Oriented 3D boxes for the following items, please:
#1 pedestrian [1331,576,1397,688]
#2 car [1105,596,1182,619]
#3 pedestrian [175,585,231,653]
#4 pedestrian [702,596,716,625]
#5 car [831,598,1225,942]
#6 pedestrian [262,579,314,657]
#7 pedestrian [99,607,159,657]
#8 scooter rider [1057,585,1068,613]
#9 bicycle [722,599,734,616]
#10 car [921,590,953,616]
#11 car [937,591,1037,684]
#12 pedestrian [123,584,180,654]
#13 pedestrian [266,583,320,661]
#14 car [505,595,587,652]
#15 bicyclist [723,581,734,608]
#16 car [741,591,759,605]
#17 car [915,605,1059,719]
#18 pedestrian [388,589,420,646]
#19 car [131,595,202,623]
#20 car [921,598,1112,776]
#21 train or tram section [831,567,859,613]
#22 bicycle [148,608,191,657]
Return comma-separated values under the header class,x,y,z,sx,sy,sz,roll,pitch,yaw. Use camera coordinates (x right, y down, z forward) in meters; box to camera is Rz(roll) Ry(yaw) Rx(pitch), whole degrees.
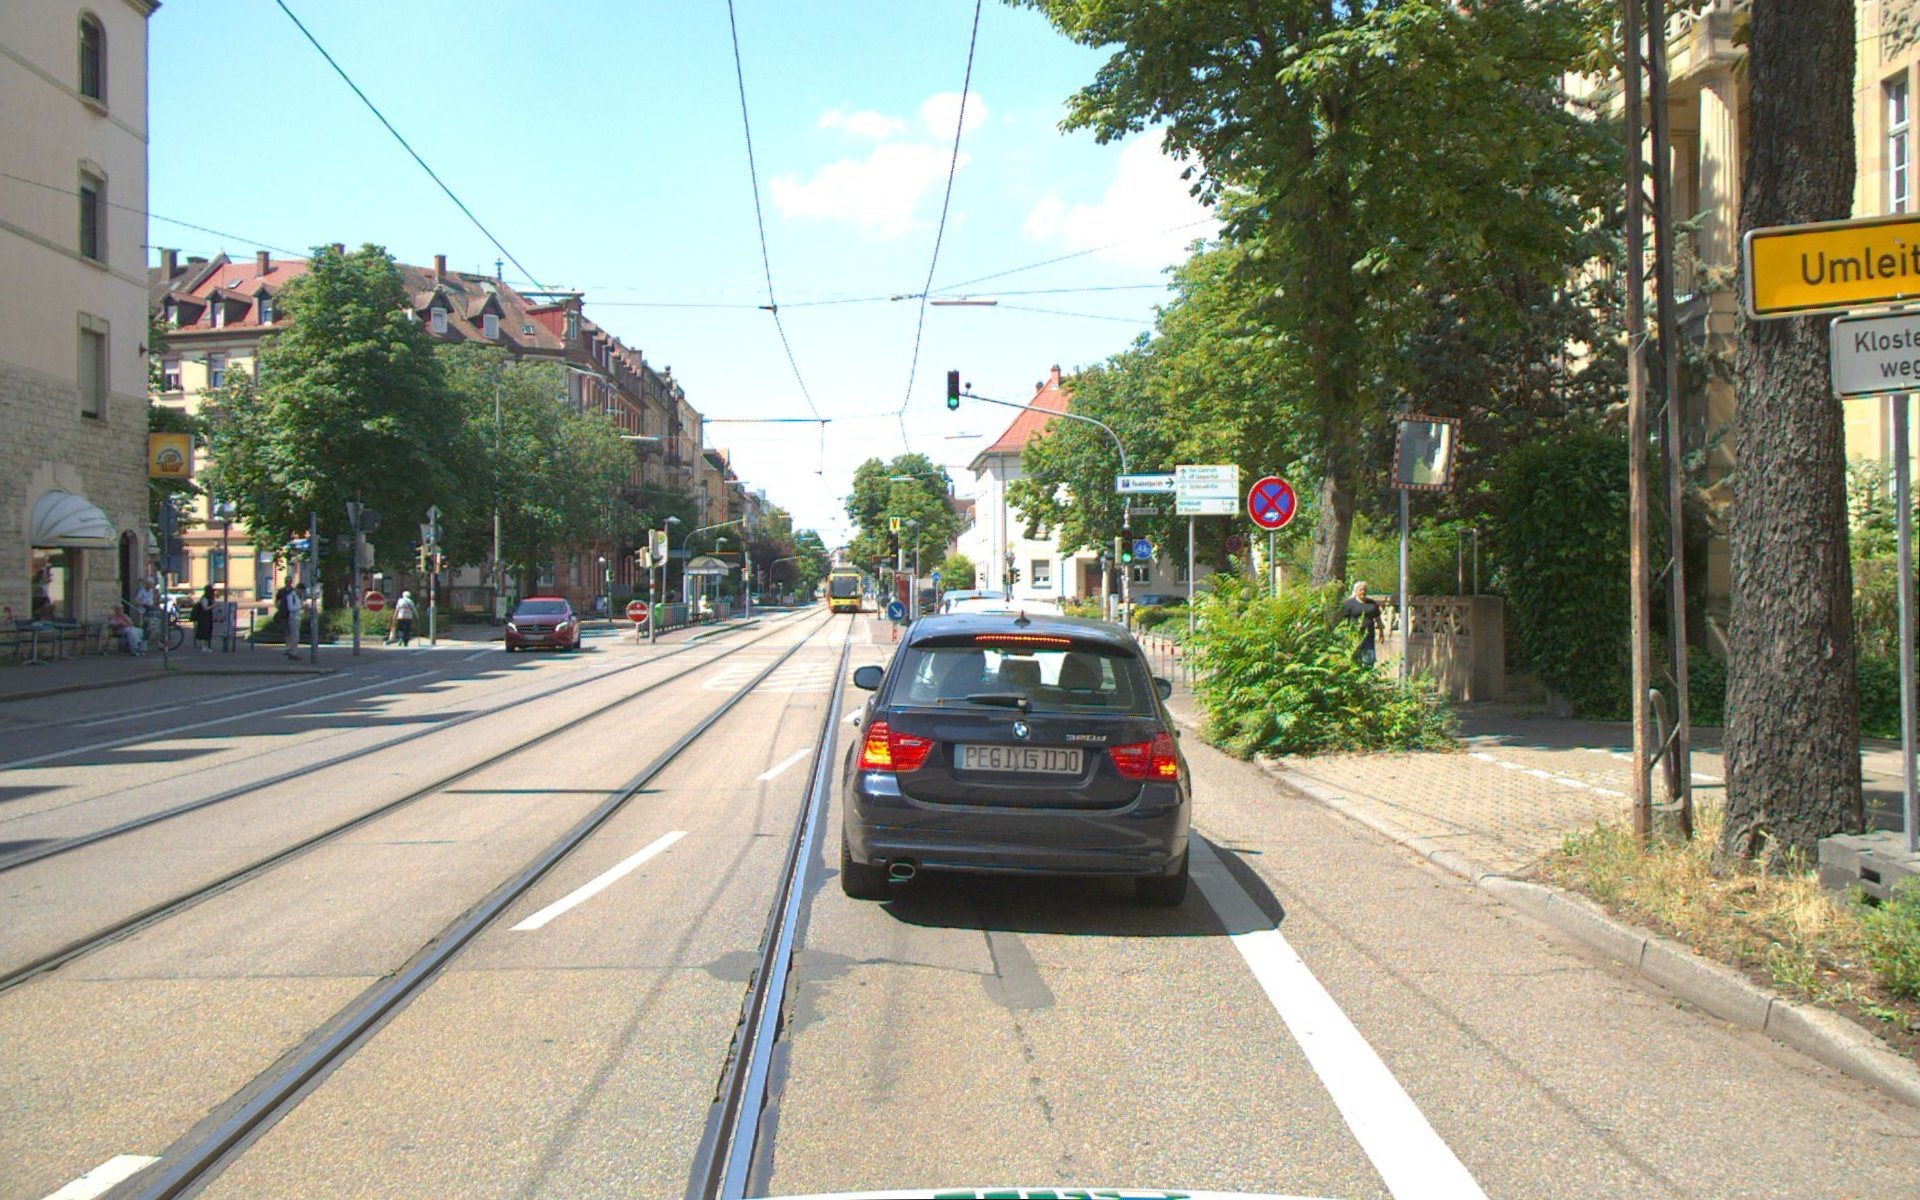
class,x,y,z,sx,sy,sz,roll,pitch,yaw
pedestrian,6.131,0.479,25.125,0.839,1.674,0.837,-1,0,5
car,10.010,0.401,90.238,3.914,1.265,1.619,0,0,32
pedestrian,-18.900,0.466,41.292,1.004,1.664,0.861,0,0,31
pedestrian,-11.070,0.474,72.903,0.602,1.264,0.626,0,0,-9
car,0.364,0.743,9.553,1.687,1.433,4.566,2,0,2
pedestrian,-16.836,0.435,41.477,0.883,1.924,1.163,0,0,-4
pedestrian,-18.584,0.718,37.013,0.897,1.096,0.882,0,0,-3
scooter rider,6.367,-0.054,102.325,0.579,1.716,0.527,0,0,-9
bicycle,-16.051,0.524,114.603,0.714,1.121,1.714,0,0,-5
car,-1.745,0.218,123.632,1.956,1.881,3.994,0,0,-7
car,0.447,0.629,29.692,1.656,1.540,3.821,1,0,0
pedestrian,-18.986,0.432,38.845,0.897,1.622,0.809,0,0,19
pedestrian,-15.427,0.506,38.269,0.841,1.763,0.776,1,0,11
car,-11.393,0.600,45.748,1.789,1.438,4.419,-2,0,-9
bicyclist,-16.041,-0.379,114.654,0.708,1.903,0.824,0,0,-6
car,-24.960,-0.200,196.771,1.756,1.614,3.988,1,0,-12
car,0.276,0.747,21.740,1.657,1.346,3.819,0,0,-3
pedestrian,-17.161,0.539,51.064,0.901,1.753,0.836,0,0,-17
car,-43.795,0.503,91.275,3.388,1.497,1.685,0,0,21
car,0.446,0.754,16.206,1.651,1.510,3.683,0,0,-1
train or tram section,-9.106,-0.781,131.632,2.147,3.543,8.838,0,0,-4
bicycle,-19.382,0.802,40.548,0.539,1.148,1.658,0,-2,-40
